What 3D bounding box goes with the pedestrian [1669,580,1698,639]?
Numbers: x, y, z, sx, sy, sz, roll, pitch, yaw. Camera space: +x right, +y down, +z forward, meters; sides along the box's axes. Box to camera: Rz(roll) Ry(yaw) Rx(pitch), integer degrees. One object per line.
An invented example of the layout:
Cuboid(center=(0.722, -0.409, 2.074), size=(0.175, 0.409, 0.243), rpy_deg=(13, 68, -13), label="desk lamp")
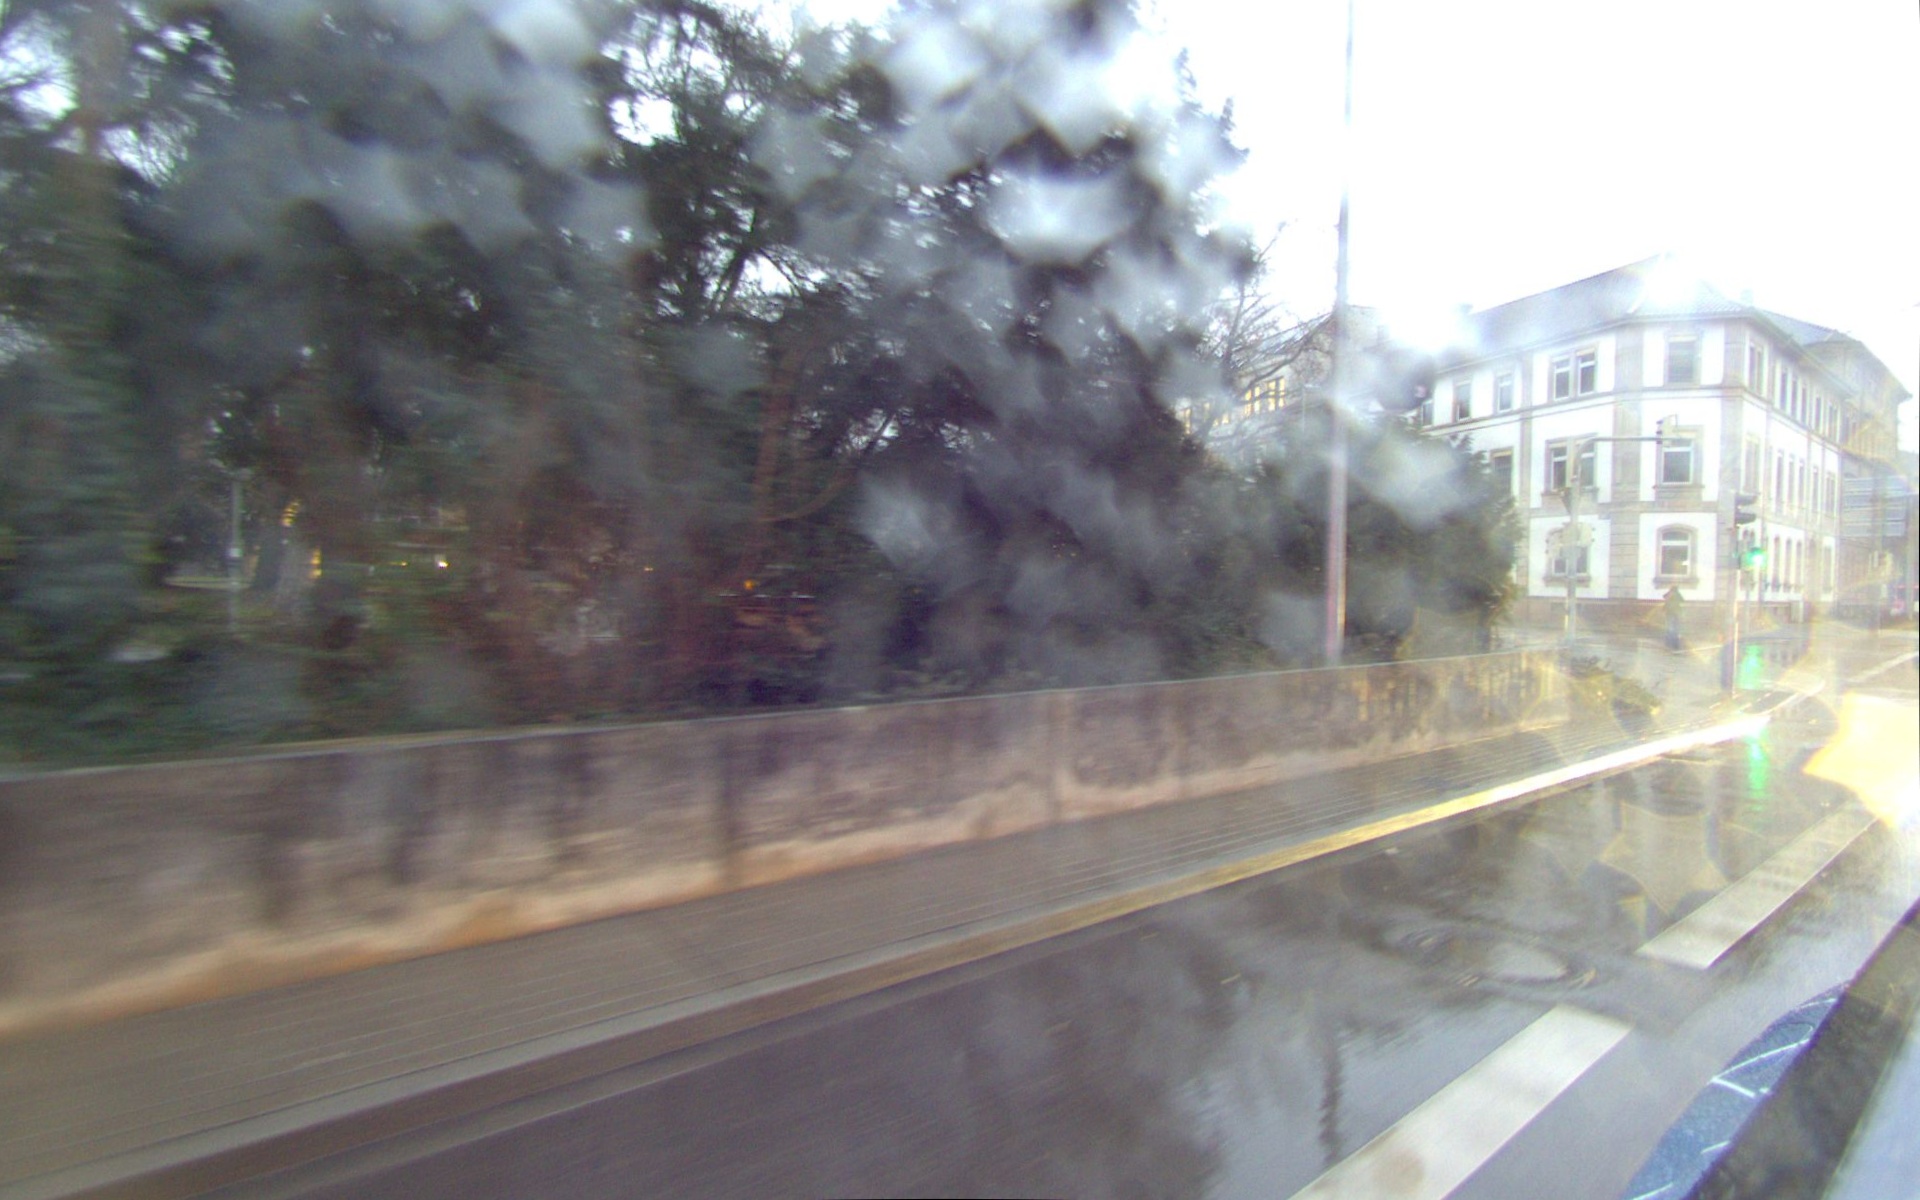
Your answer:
Cuboid(center=(23.630, 0.298, 33.056), size=(0.668, 1.903, 0.708), rpy_deg=(0, 0, 26), label="pedestrian")
